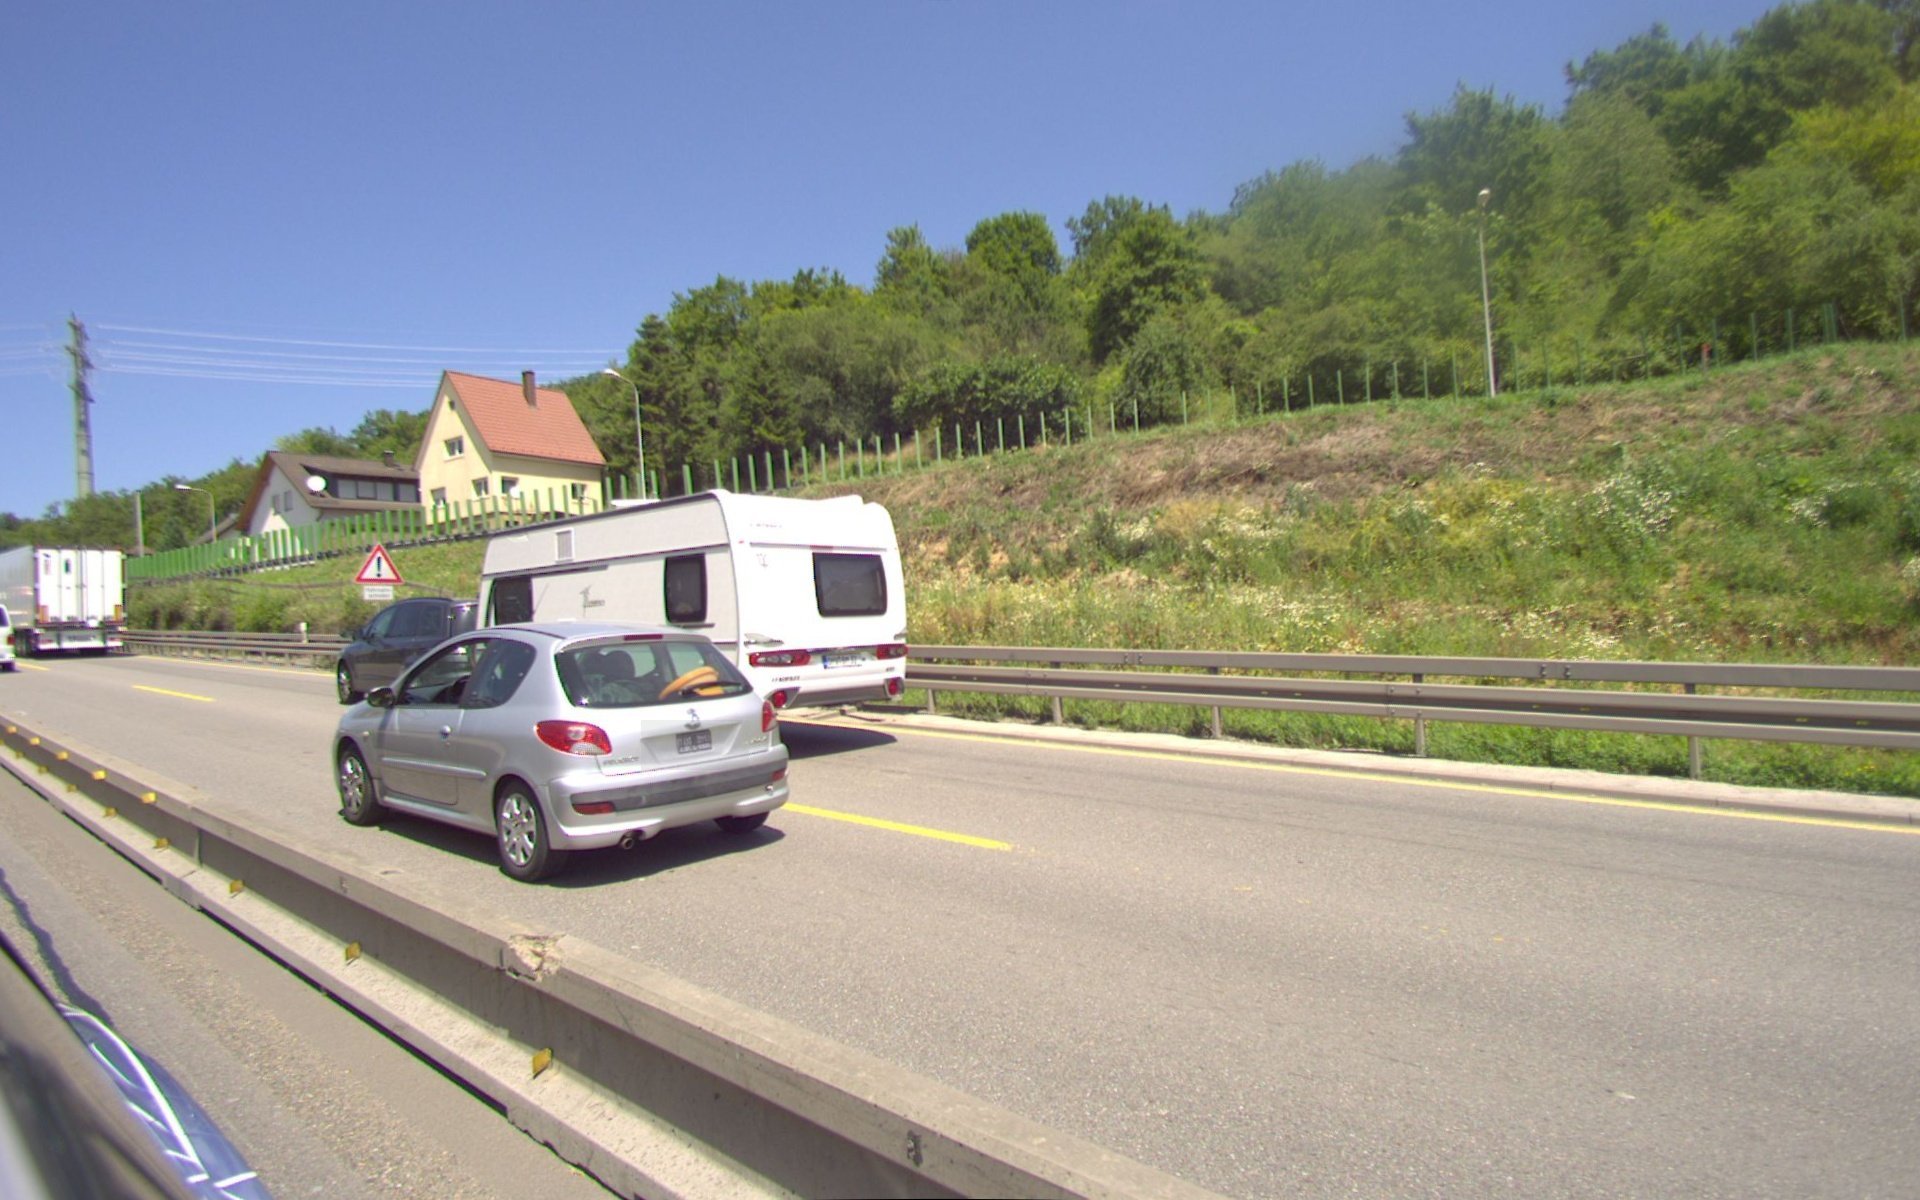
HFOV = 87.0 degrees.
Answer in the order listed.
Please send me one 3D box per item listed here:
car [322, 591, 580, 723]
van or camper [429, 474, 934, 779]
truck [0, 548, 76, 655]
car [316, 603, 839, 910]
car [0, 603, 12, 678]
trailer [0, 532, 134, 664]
[{"bbox_3d":[-8.055,0.775,15.814,4.685,1.769,1.973,-1,0,41],"label":"car"},{"bbox_3d":[-3.639,0.251,11.965,6.899,2.654,2.326,-1,0,41],"label":"van or camper"},{"bbox_3d":[-42.180,0.098,45.044,8.500,4.427,3.072,-1,0,40],"label":"truck"},{"bbox_3d":[-2.740,0.792,6.786,3.904,1.461,1.650,-2,-1,41],"label":"car"},{"bbox_3d":[-28.053,1.147,28.222,4.164,2.029,1.973,-2,-1,41],"label":"car"},{"bbox_3d":[-36.523,-0.020,40.302,14.619,4.475,3.072,-1,0,40],"label":"trailer"}]
